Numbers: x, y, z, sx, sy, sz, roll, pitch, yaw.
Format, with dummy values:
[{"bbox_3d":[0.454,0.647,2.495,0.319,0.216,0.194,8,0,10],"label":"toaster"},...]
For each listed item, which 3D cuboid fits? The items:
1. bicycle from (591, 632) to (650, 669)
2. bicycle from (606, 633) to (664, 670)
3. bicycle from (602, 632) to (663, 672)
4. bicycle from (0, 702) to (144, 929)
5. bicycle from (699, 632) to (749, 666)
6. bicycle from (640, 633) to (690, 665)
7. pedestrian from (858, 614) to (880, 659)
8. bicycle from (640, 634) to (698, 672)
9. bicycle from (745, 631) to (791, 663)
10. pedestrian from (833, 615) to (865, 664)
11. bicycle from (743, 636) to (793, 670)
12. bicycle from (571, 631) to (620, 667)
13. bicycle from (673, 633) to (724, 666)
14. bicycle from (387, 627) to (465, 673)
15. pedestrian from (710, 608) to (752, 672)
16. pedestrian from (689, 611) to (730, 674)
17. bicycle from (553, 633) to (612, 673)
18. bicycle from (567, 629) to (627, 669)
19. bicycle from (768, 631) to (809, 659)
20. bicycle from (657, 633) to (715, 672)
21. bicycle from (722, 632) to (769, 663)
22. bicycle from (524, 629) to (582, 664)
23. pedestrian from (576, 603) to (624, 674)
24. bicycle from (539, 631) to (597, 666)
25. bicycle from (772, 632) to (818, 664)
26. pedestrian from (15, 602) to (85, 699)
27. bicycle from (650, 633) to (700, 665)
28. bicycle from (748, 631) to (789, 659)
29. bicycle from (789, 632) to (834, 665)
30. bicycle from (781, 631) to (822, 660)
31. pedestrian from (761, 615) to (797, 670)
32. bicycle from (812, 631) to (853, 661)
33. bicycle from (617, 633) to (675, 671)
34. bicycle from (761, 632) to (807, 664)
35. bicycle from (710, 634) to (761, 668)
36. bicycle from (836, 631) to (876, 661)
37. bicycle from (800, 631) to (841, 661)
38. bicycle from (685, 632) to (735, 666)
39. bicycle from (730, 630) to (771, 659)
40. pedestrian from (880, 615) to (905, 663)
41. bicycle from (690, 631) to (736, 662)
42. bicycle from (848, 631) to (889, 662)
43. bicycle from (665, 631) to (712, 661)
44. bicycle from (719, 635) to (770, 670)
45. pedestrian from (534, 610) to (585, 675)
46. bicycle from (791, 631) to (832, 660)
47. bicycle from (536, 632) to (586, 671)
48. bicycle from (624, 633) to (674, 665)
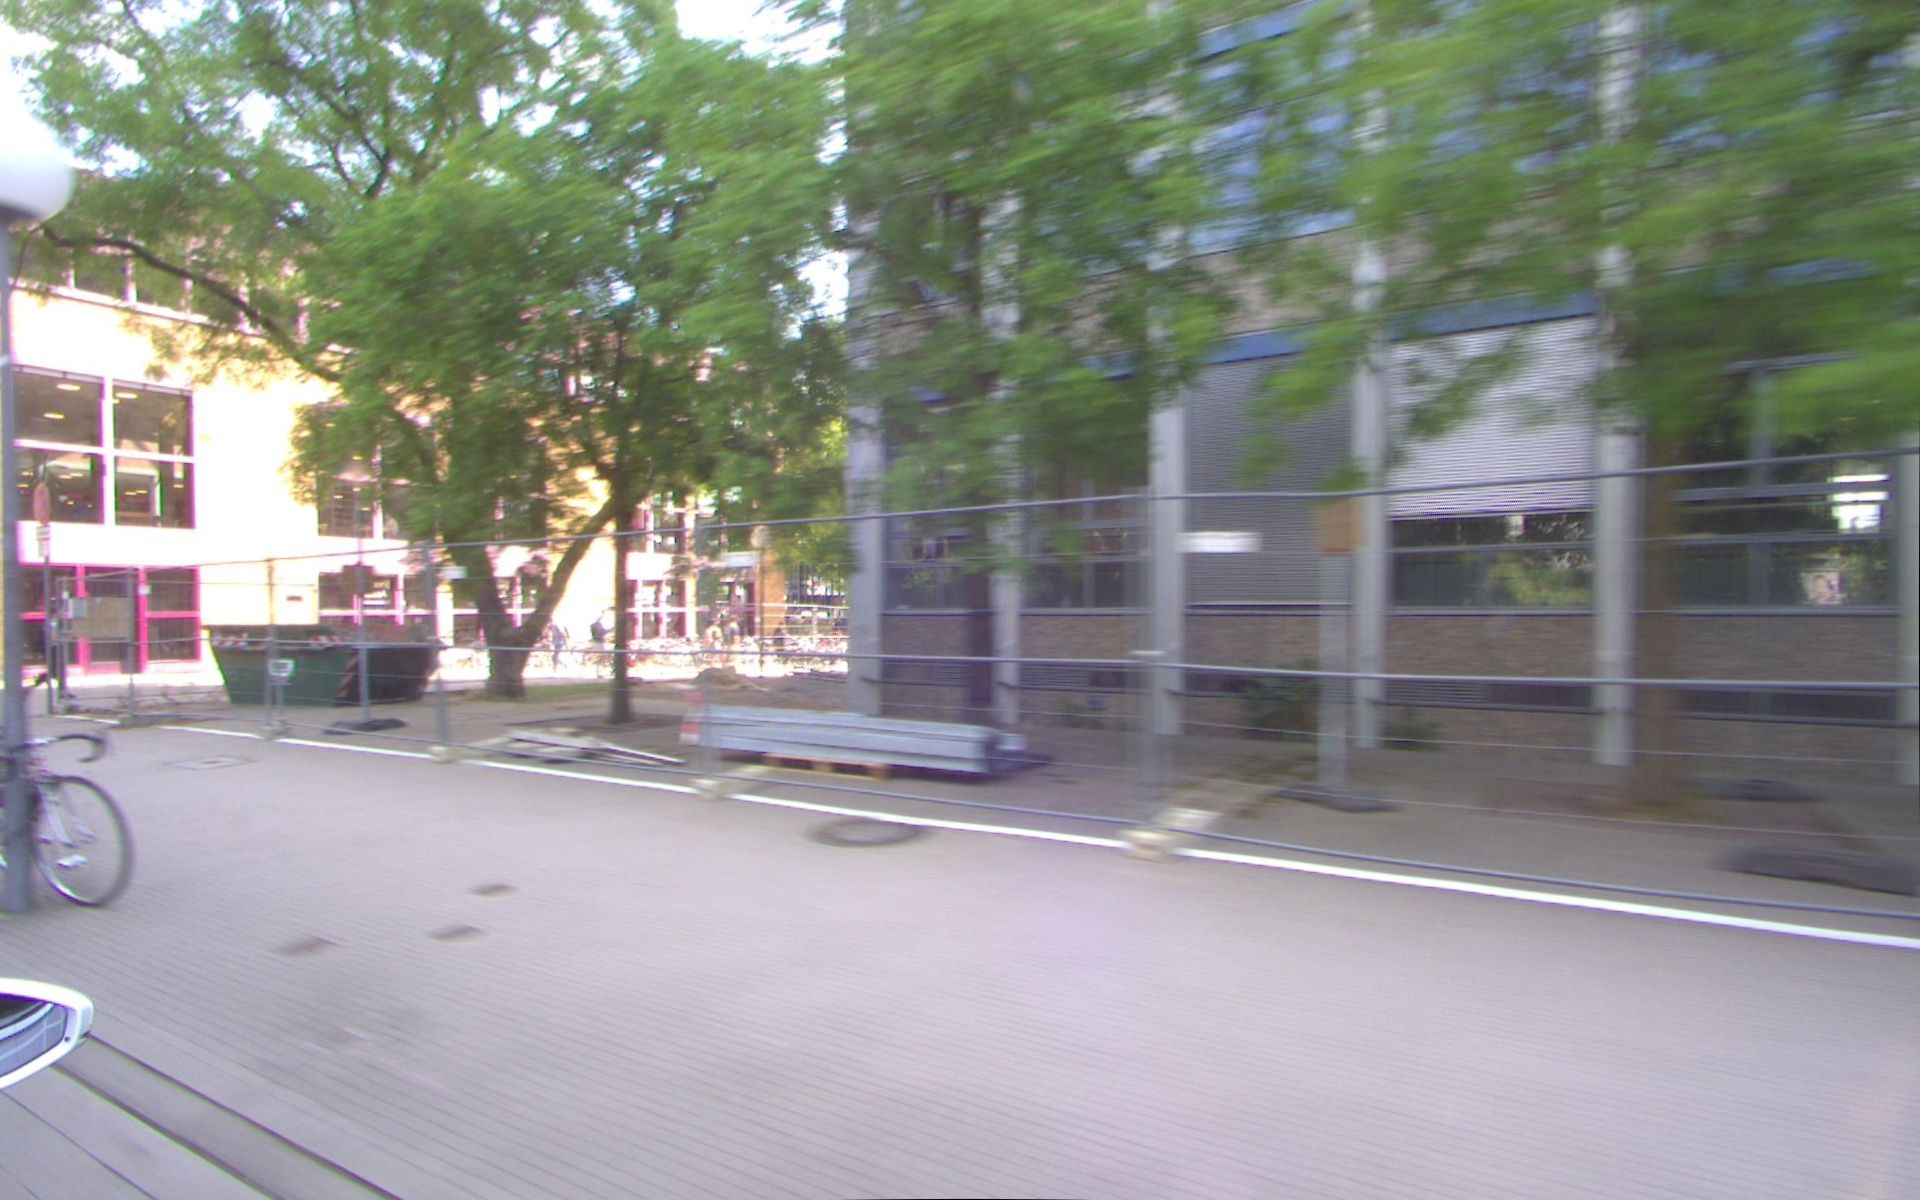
[{"bbox_3d":[-11.172,1.661,33.010,0.467,1.184,1.994,0,-2,30],"label":"bicycle"},{"bbox_3d":[-10.646,1.690,32.877,0.467,1.184,1.994,0,-2,30],"label":"bicycle"},{"bbox_3d":[-9.803,1.553,30.018,0.468,1.184,1.802,0,-2,35],"label":"bicycle"},{"bbox_3d":[-4.927,1.070,5.275,1.707,0.948,0.395,-1,2,31],"label":"bicycle"},{"bbox_3d":[-8.586,1.775,36.458,0.537,1.184,1.994,0,-2,30],"label":"bicycle"},{"bbox_3d":[-11.215,1.847,38.085,0.537,1.184,1.994,0,-2,30],"label":"bicycle"},{"bbox_3d":[-3.577,1.420,39.434,0.671,1.750,0.904,0,-1,9],"label":"pedestrian"},{"bbox_3d":[-9.278,1.692,31.972,0.467,1.184,1.994,0,-2,30],"label":"bicycle"},{"bbox_3d":[-7.320,1.806,38.348,0.537,1.184,1.994,0,-2,30],"label":"bicycle"},{"bbox_3d":[-4.080,1.462,36.959,0.677,1.750,0.897,-3,-1,41],"label":"pedestrian"},{"bbox_3d":[-6.748,1.859,35.360,0.537,1.184,1.994,0,-2,30],"label":"bicycle"},{"bbox_3d":[-12.267,1.650,33.730,0.465,1.184,2.001,0,-2,16],"label":"bicycle"},{"bbox_3d":[-9.657,1.824,37.026,0.537,1.184,1.994,0,-2,30],"label":"bicycle"},{"bbox_3d":[-13.400,1.245,25.172,0.468,1.124,1.690,-1,-2,35],"label":"bicycle"},{"bbox_3d":[-6.481,1.128,28.369,0.674,1.750,0.901,-3,-1,27],"label":"pedestrian"},{"bbox_3d":[-7.180,1.204,28.747,0.674,1.750,0.901,-3,-1,27],"label":"pedestrian"},{"bbox_3d":[-11.559,1.610,30.703,0.467,1.184,1.805,0,-2,30],"label":"bicycle"},{"bbox_3d":[-10.960,1.474,30.264,0.467,1.184,1.803,0,-2,32],"label":"bicycle"},{"bbox_3d":[-7.218,1.896,42.235,0.537,1.184,1.994,0,-2,30],"label":"bicycle"},{"bbox_3d":[-8.680,1.655,31.782,0.467,1.184,1.994,0,-2,30],"label":"bicycle"},{"bbox_3d":[-8.278,1.825,38.695,0.537,1.184,1.994,0,-2,30],"label":"bicycle"},{"bbox_3d":[-14.123,1.619,34.800,0.467,1.184,1.994,0,-2,30],"label":"bicycle"},{"bbox_3d":[-9.194,0.973,25.584,0.674,1.750,0.901,-3,-1,27],"label":"pedestrian"},{"bbox_3d":[-13.357,1.654,34.190,0.467,1.184,1.994,0,-2,30],"label":"bicycle"},{"bbox_3d":[-6.168,1.795,37.556,0.537,1.184,1.994,0,-2,30],"label":"bicycle"},{"bbox_3d":[-16.150,0.883,17.784,0.581,1.672,0.849,-1,-1,39],"label":"pedestrian"},{"bbox_3d":[-10.669,1.826,37.531,0.537,1.184,1.994,0,-2,30],"label":"bicycle"},{"bbox_3d":[-8.157,1.916,42.724,0.537,1.184,1.994,0,-2,30],"label":"bicycle"},{"bbox_3d":[-5.520,1.800,37.300,0.537,1.184,1.994,0,-2,30],"label":"bicycle"},{"bbox_3d":[-6.619,1.888,41.880,0.537,1.184,1.994,0,-2,30],"label":"bicycle"},{"bbox_3d":[-5.902,1.388,32.707,0.674,1.750,0.901,-3,-1,27],"label":"pedestrian"},{"bbox_3d":[-5.166,1.868,40.704,0.537,1.184,1.994,0,-2,30],"label":"bicycle"},{"bbox_3d":[-10.177,1.675,32.536,0.467,1.184,1.994,0,-2,30],"label":"bicycle"},{"bbox_3d":[-6.637,1.806,37.878,0.537,1.184,1.994,0,-2,30],"label":"bicycle"},{"bbox_3d":[-8.018,1.819,35.802,0.537,1.184,1.994,0,-2,30],"label":"bicycle"},{"bbox_3d":[-4.188,1.866,40.367,0.537,1.184,1.994,0,-2,30],"label":"bicycle"},{"bbox_3d":[-5.707,1.878,41.192,0.537,1.184,1.994,0,-2,30],"label":"bicycle"},{"bbox_3d":[-9.149,1.790,36.755,0.537,1.184,1.994,0,-2,30],"label":"bicycle"},{"bbox_3d":[-9.064,1.928,43.406,0.537,1.184,1.994,0,-2,30],"label":"bicycle"},{"bbox_3d":[-2.655,1.517,39.246,0.672,1.846,0.903,-1,-1,18],"label":"pedestrian"},{"bbox_3d":[-9.797,1.843,39.827,0.537,1.184,1.994,0,-2,30],"label":"bicycle"},{"bbox_3d":[-3.630,1.859,39.847,0.537,1.184,1.994,0,-2,30],"label":"bicycle"},{"bbox_3d":[-10.891,1.848,40.223,0.537,1.184,1.994,0,-2,30],"label":"bicycle"},{"bbox_3d":[-7.591,1.838,35.362,0.537,1.184,1.994,0,-2,30],"label":"bicycle"},{"bbox_3d":[-10.567,1.120,26.439,0.695,1.672,1.040,-1,-1,39],"label":"pedestrian"},{"bbox_3d":[-6.149,1.896,41.522,0.537,1.184,1.994,0,-2,30],"label":"bicycle"},{"bbox_3d":[-12.546,1.608,31.538,0.465,1.184,1.811,0,-2,15],"label":"bicycle"},{"bbox_3d":[-11.952,1.874,38.533,0.537,1.184,1.995,0,-2,28],"label":"bicycle"}]
